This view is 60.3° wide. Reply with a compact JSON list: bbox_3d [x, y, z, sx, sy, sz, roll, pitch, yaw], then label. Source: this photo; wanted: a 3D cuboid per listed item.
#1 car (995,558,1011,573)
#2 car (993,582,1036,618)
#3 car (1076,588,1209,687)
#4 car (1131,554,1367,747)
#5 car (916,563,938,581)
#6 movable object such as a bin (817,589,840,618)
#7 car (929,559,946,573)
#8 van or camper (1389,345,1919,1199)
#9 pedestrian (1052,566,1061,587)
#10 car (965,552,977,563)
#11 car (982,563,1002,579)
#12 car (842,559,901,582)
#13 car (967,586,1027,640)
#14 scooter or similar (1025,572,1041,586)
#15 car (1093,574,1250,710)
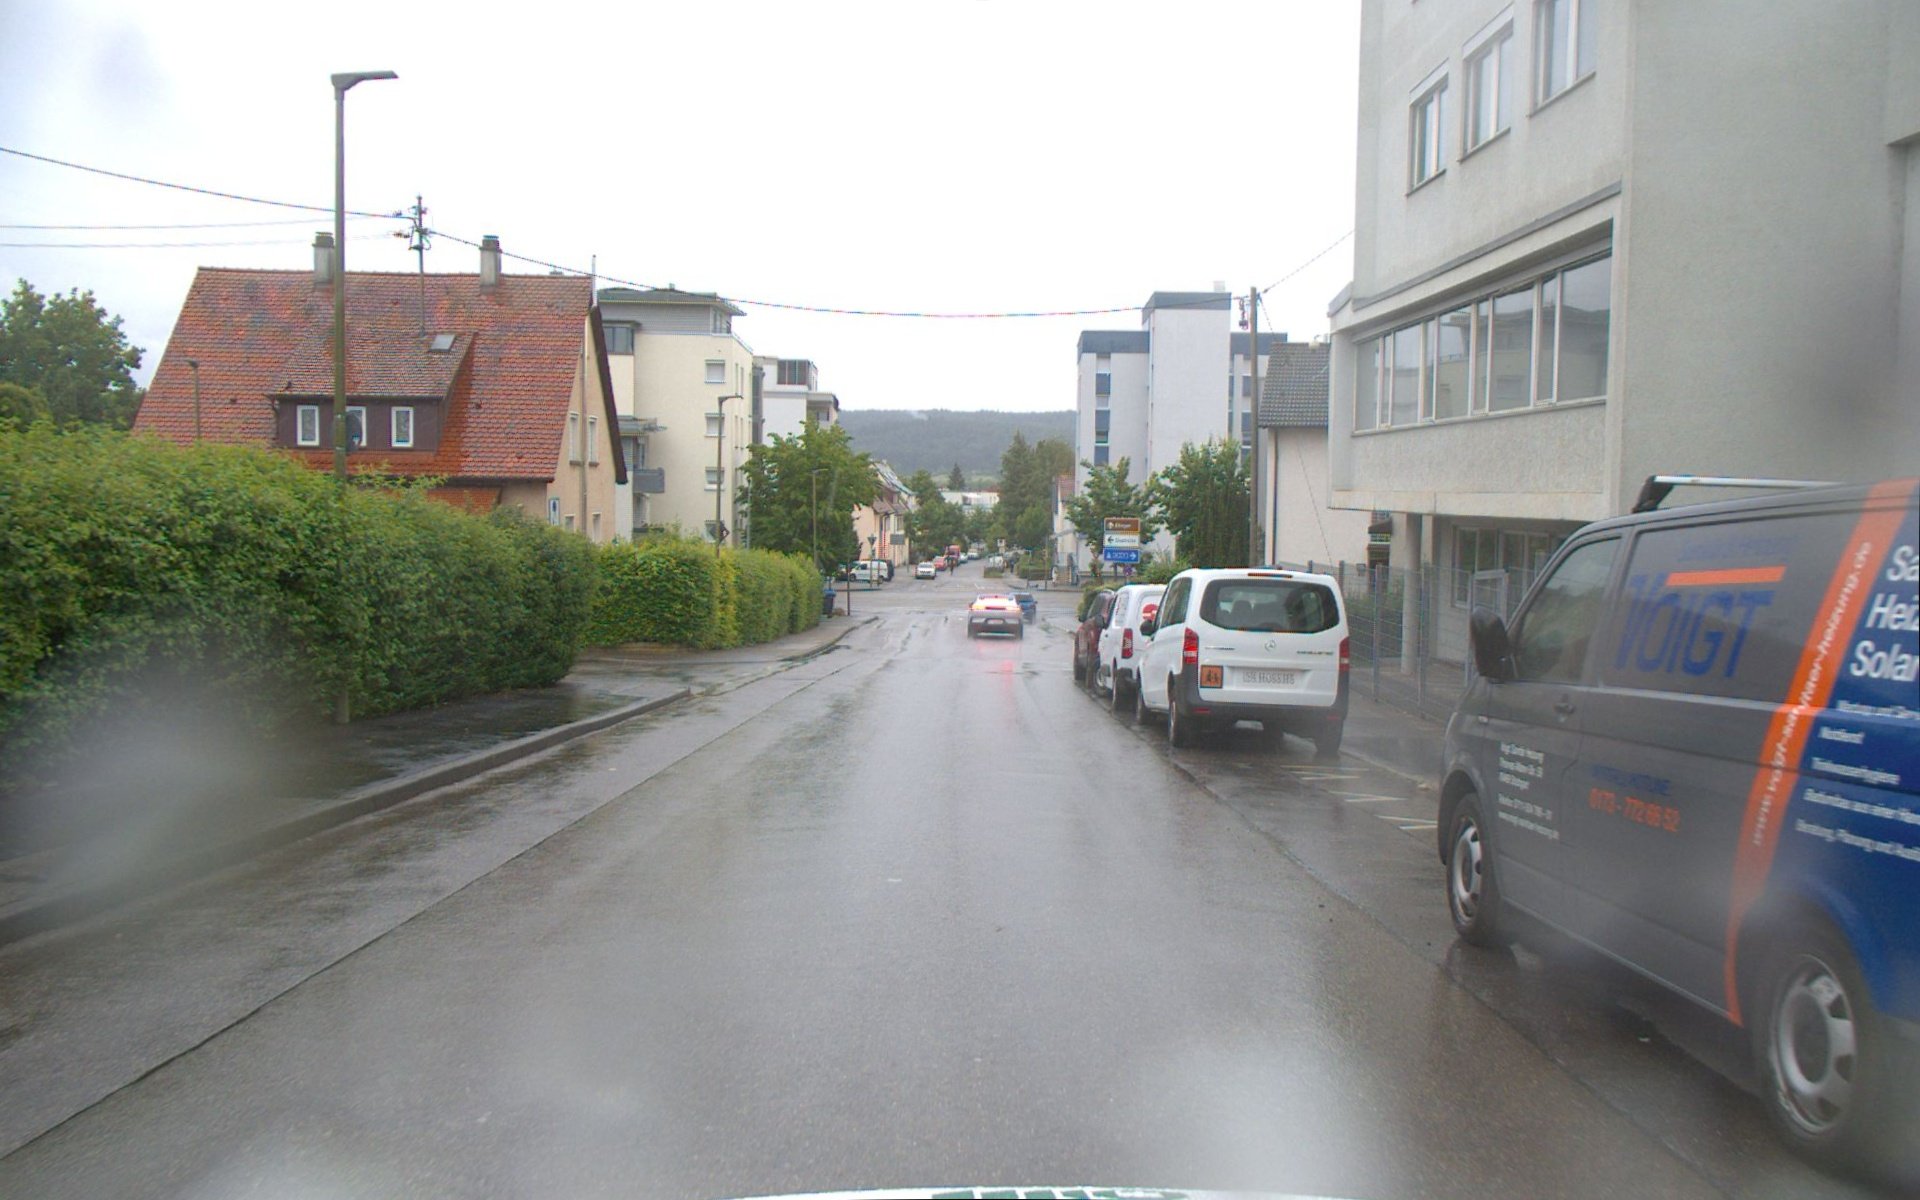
[{"bbox_3d":[5.092,-4.156,197.500,1.862,1.775,4.193,-1,2,1],"label":"car"},{"bbox_3d":[2.778,-0.006,85.361,1.953,1.713,4.000,-1,2,-1],"label":"car"},{"bbox_3d":[3.257,0.618,30.462,1.952,1.673,4.959,1,0,1],"label":"car"},{"bbox_3d":[3.225,0.501,19.455,1.952,1.969,4.976,1,0,1],"label":"car"},{"bbox_3d":[-3.242,-2.764,161.810,1.952,1.654,4.193,-1,2,1],"label":"car"},{"bbox_3d":[-6.473,0.190,81.505,1.050,1.371,1.318,2,0,-2],"label":"movable object such as a bin"},{"bbox_3d":[-2.661,-4.061,198.261,1.862,1.586,4.193,-1,2,1],"label":"car"},{"bbox_3d":[3.252,0.433,6.135,1.953,2.150,5.202,0,1,0],"label":"van or camper"},{"bbox_3d":[7.803,-1.902,133.773,0.634,1.676,0.525,3,1,-6],"label":"pedestrian"},{"bbox_3d":[1.650,-6.390,248.466,1.862,1.586,4.193,-1,2,1],"label":"car"},{"bbox_3d":[3.406,-3.126,175.568,2.102,1.616,4.129,-1,2,1],"label":"car"},{"bbox_3d":[-7.616,-2.584,142.188,4.795,1.867,1.973,-2,2,-38],"label":"car"},{"bbox_3d":[1.303,0.436,59.134,1.953,1.713,4.000,-1,2,-1],"label":"car"},{"bbox_3d":[5.834,-1.652,132.441,1.243,1.100,0.876,-1,2,-4],"label":"scooter or similar"},{"bbox_3d":[3.103,0.571,25.118,1.839,1.866,4.489,1,0,1],"label":"car"}]
